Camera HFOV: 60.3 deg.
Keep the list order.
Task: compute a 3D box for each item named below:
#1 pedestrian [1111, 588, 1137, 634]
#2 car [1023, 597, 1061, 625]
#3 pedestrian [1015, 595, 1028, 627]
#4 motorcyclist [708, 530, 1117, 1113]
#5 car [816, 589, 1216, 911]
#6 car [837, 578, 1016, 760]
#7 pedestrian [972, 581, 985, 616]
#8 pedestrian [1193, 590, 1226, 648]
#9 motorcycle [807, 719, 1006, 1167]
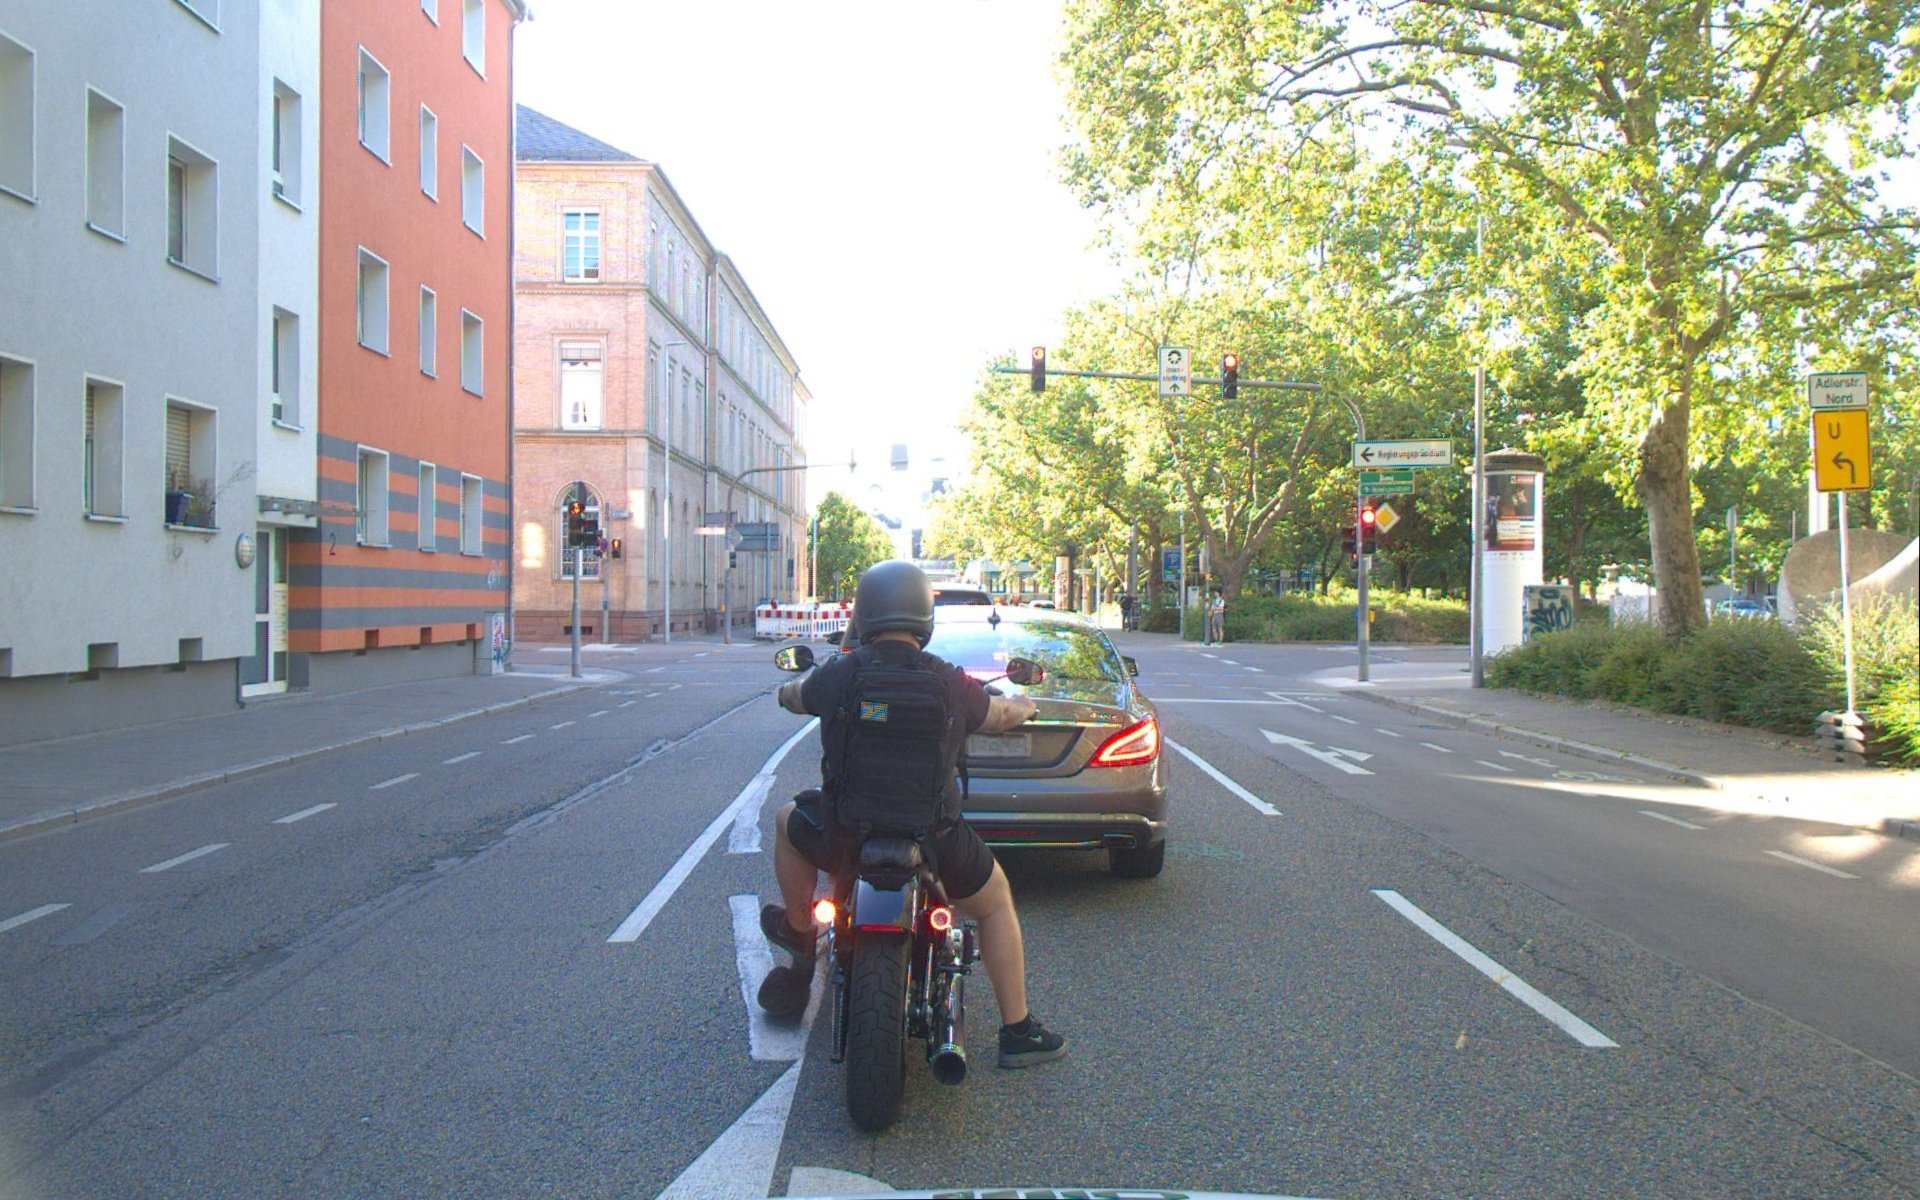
[{"bbox_3d":[7.121,0.475,71.822,0.741,1.943,0.917,1,-1,-29],"label":"pedestrian"},{"bbox_3d":[4.349,0.569,88.244,1.740,1.453,3.801,0,0,-1],"label":"car"},{"bbox_3d":[3.982,0.729,107.143,0.797,2.049,1.270,1,0,-1],"label":"pedestrian"},{"bbox_3d":[-0.141,0.629,5.307,1.125,1.626,1.288,1,0,-1],"label":"motorcyclist"},{"bbox_3d":[0.237,0.691,9.616,1.844,1.475,3.819,1,0,-1],"label":"car"},{"bbox_3d":[-0.330,0.604,16.724,1.588,1.622,3.999,0,0,-1],"label":"car"},{"bbox_3d":[1.127,-0.086,100.830,0.748,2.087,0.712,1,-1,-1],"label":"pedestrian"},{"bbox_3d":[8.071,0.613,53.516,0.980,1.858,1.077,1,-1,5],"label":"pedestrian"},{"bbox_3d":[-0.154,0.967,5.317,0.503,1.020,2.013,1,0,-1],"label":"motorcycle"}]
